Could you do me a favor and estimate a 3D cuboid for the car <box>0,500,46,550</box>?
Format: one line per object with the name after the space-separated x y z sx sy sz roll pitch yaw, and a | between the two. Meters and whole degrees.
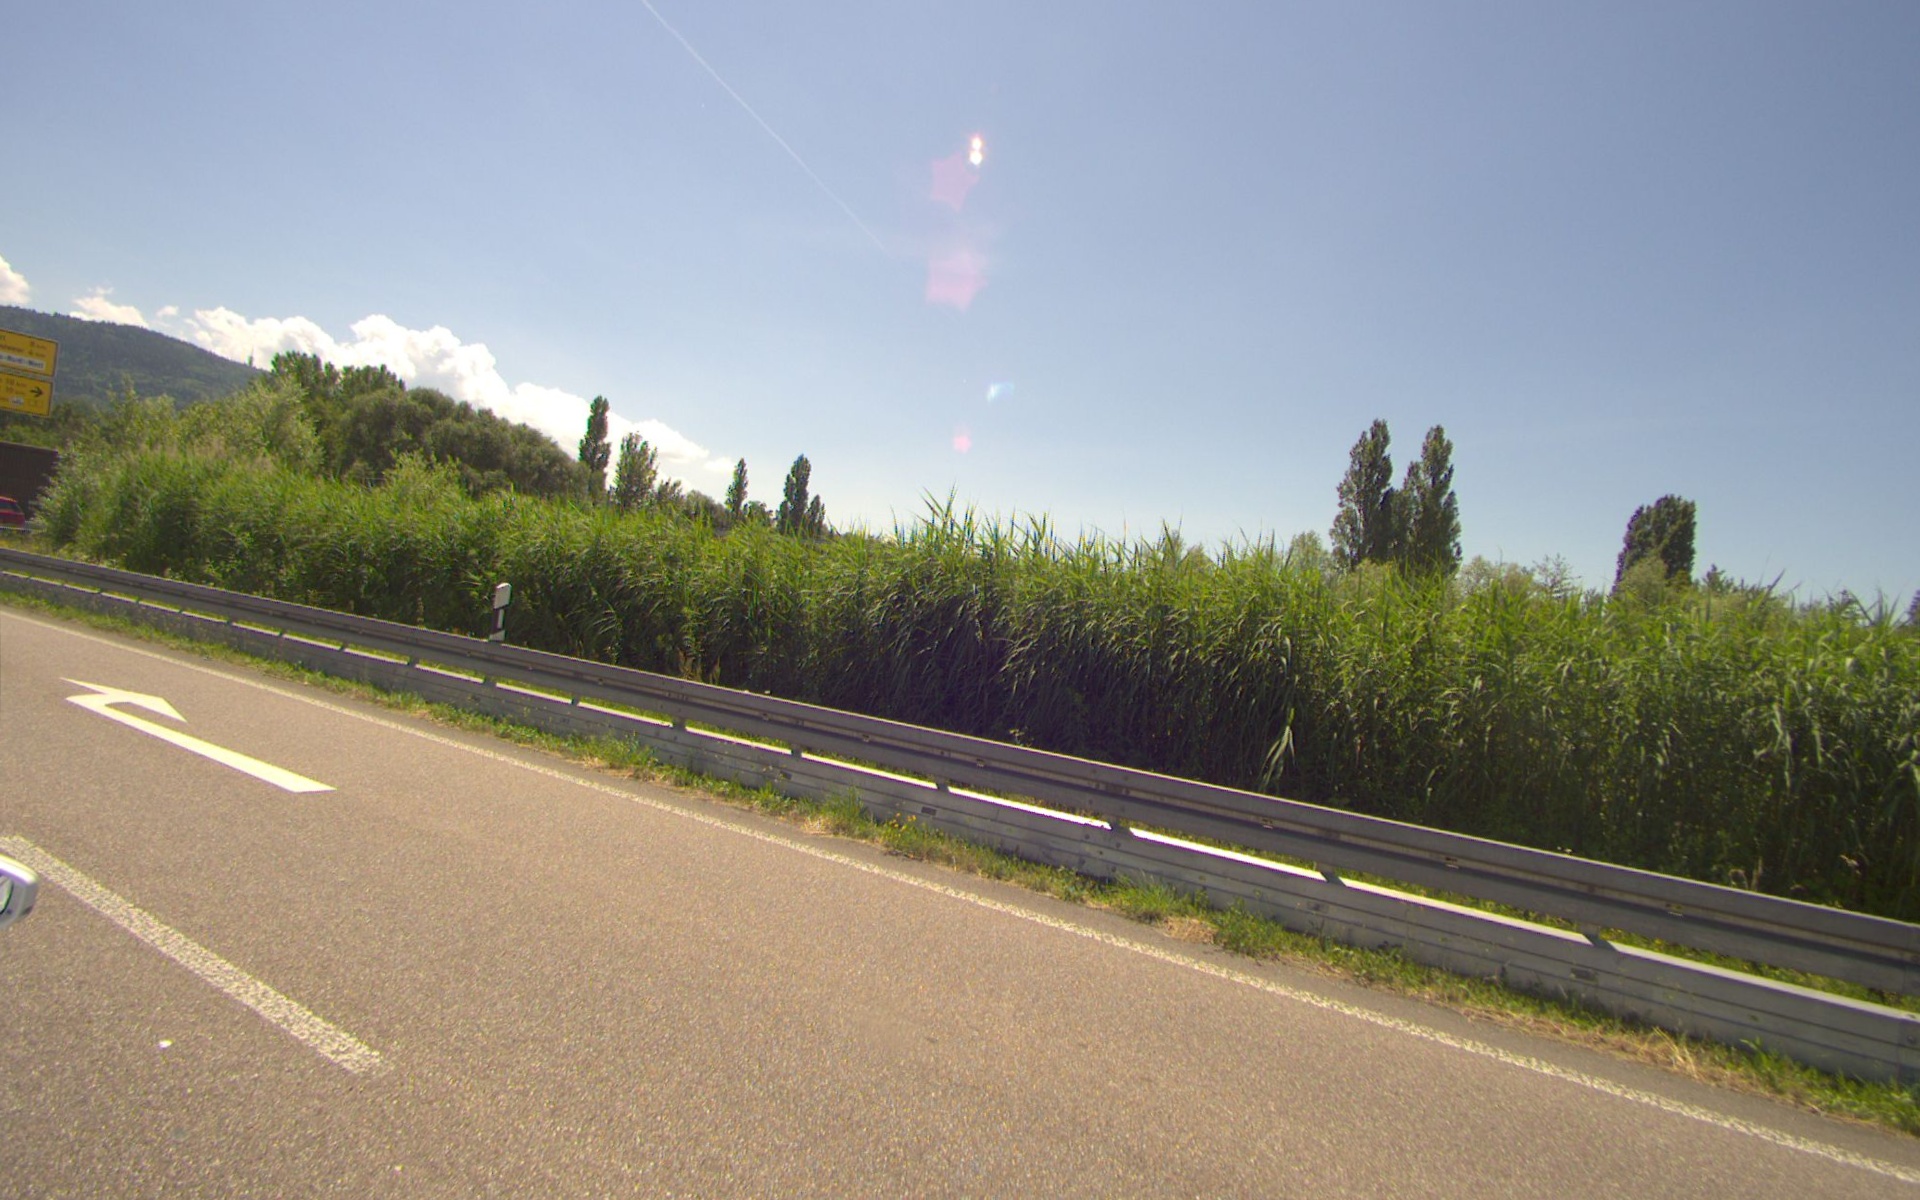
-36.487 -2.995 36.586 1.965 1.676 4.320 7 -2 28 | car
